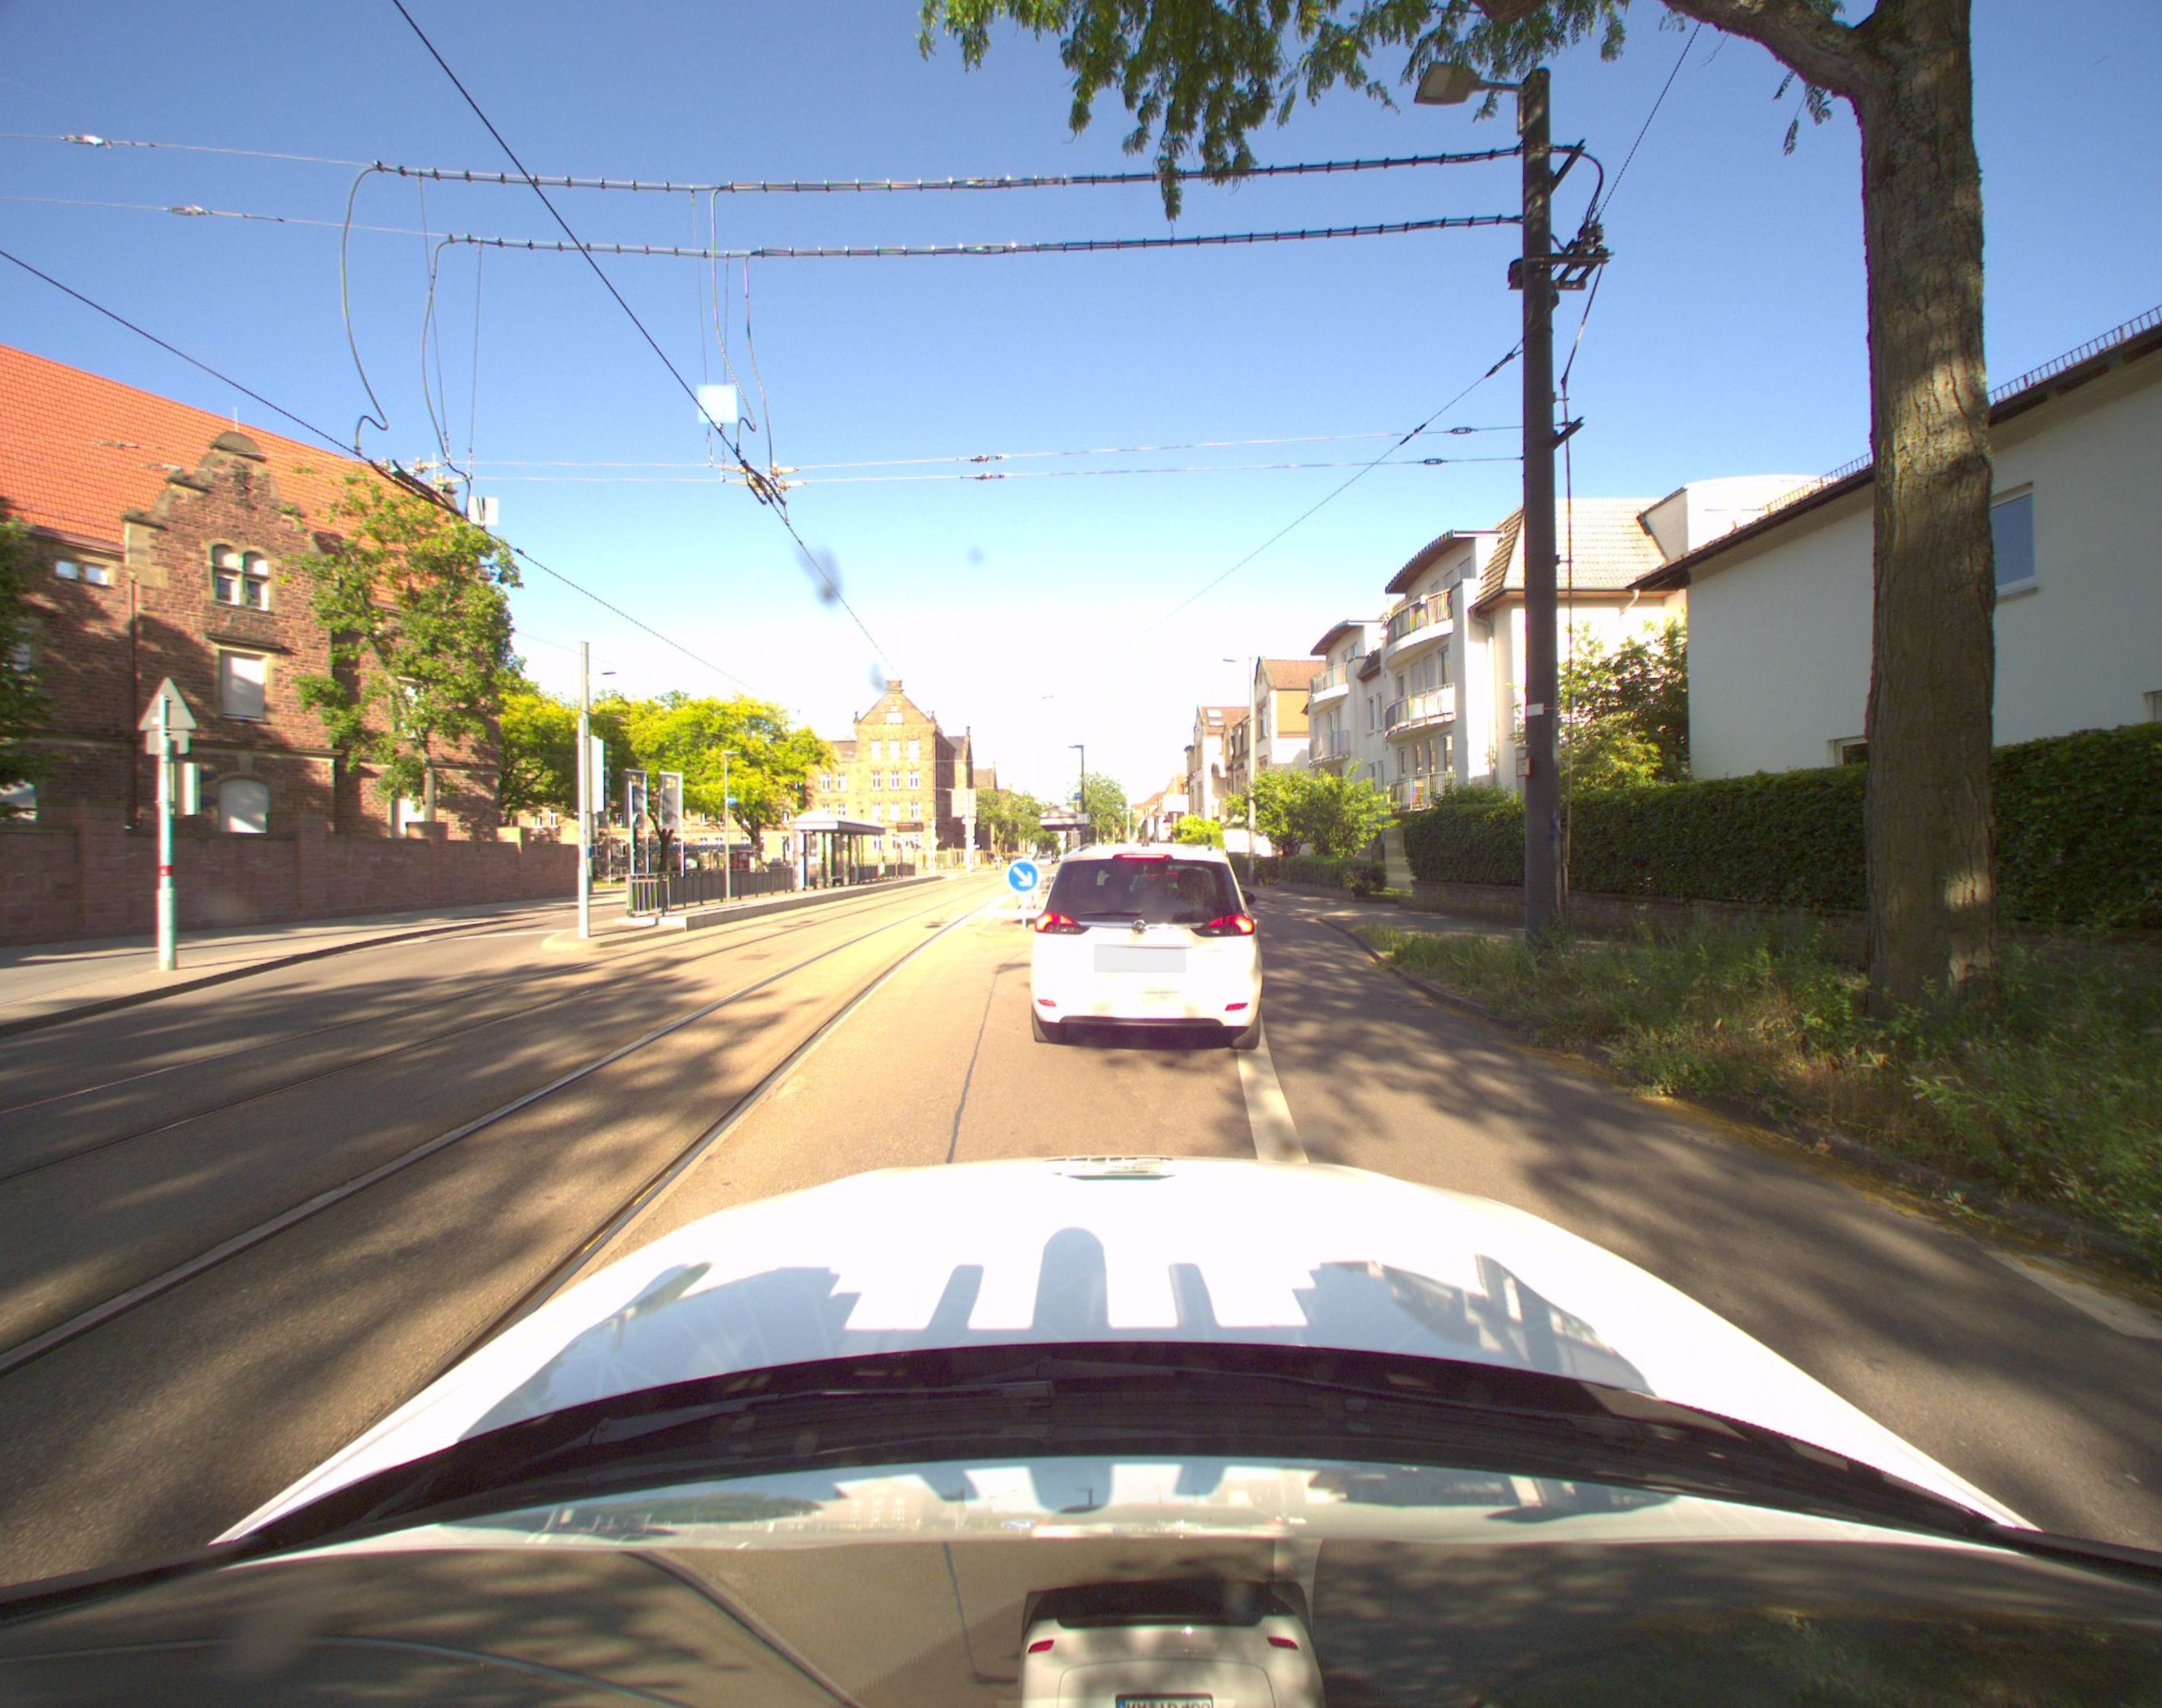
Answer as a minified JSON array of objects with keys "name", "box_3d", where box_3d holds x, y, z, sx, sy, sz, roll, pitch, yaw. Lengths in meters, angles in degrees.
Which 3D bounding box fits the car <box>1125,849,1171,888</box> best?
[{"name":"car","box_3d":[2.935,0.611,36.253,1.824,1.579,4.012,-1,0,2]}]

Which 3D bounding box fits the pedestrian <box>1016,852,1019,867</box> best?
[{"name":"pedestrian","box_3d":[-8.766,0.772,112.395,0.443,2.013,0.495,-1,0,-2]}]

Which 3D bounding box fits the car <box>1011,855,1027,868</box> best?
[{"name":"car","box_3d":[-8.189,0.921,107.483,1.989,1.629,3.996,-1,0,-3]}]

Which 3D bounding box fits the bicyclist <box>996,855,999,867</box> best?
[{"name":"bicyclist","box_3d":[-10.977,0.975,107.027,0.443,1.553,0.495,-1,0,-2]}]

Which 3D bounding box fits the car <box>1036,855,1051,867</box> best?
[{"name":"car","box_3d":[-5.294,0.950,114.747,1.989,1.629,3.996,-1,0,-3]}]

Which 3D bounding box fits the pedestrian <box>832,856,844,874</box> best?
[{"name":"pedestrian","box_3d":[-21.781,1.015,72.968,0.799,1.588,0.934,0,-1,-1]}]

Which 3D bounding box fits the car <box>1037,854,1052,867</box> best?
[{"name":"car","box_3d":[-4.813,0.889,107.625,1.989,1.629,3.996,-1,0,-3]}]

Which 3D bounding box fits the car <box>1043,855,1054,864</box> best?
[{"name":"car","box_3d":[-6.042,0.950,151.824,1.987,1.629,4.000,-1,0,0]}]

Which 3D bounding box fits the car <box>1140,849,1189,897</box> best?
[{"name":"car","box_3d":[2.949,0.636,29.323,1.630,1.601,3.859,-1,0,4]}]

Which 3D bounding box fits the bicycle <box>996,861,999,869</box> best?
[{"name":"bicycle","box_3d":[-11.001,1.442,107.068,0.343,0.950,0.996,0,-1,-1]}]

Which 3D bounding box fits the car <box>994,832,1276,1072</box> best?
[{"name":"car","box_3d":[0.649,0.685,7.707,1.982,1.644,4.003,0,0,8]}]

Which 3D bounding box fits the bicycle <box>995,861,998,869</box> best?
[{"name":"bicycle","box_3d":[-10.712,1.412,103.526,0.343,0.950,1.160,0,-1,-1]}]

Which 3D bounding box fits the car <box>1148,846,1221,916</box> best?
[{"name":"car","box_3d":[2.578,0.639,20.897,1.630,1.601,3.859,-1,0,4]}]

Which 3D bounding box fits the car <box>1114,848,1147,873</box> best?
[{"name":"car","box_3d":[3.106,0.385,51.846,1.986,1.503,4.002,-1,0,2]}]

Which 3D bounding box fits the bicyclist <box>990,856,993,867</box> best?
[{"name":"bicyclist","box_3d":[-12.682,1.055,115.605,0.443,1.553,0.495,-1,0,-2]}]

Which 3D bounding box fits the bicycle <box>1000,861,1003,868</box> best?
[{"name":"bicycle","box_3d":[-10.659,1.460,109.611,0.343,0.950,0.996,0,-1,-1]}]

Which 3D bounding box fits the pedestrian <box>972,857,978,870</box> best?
[{"name":"pedestrian","box_3d":[-14.569,1.312,111.702,0.732,1.714,0.706,0,-1,-1]}]

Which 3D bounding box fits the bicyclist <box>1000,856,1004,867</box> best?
[{"name":"bicyclist","box_3d":[-10.660,0.994,109.606,0.443,1.553,0.495,-1,0,-2]}]

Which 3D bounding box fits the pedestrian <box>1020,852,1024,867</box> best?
[{"name":"pedestrian","box_3d":[-8.167,0.769,112.647,0.443,2.013,0.495,-1,0,-2]}]

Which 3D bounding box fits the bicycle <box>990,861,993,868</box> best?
[{"name":"bicycle","box_3d":[-12.676,1.523,115.639,0.343,0.950,0.996,0,-1,-1]}]

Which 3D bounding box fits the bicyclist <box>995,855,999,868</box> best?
[{"name":"bicyclist","box_3d":[-10.704,0.945,103.736,0.443,1.553,0.742,-1,0,-2]}]

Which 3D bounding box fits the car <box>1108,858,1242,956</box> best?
[{"name":"car","box_3d":[1.537,0.792,14.068,1.944,1.397,4.005,-1,0,4]}]
